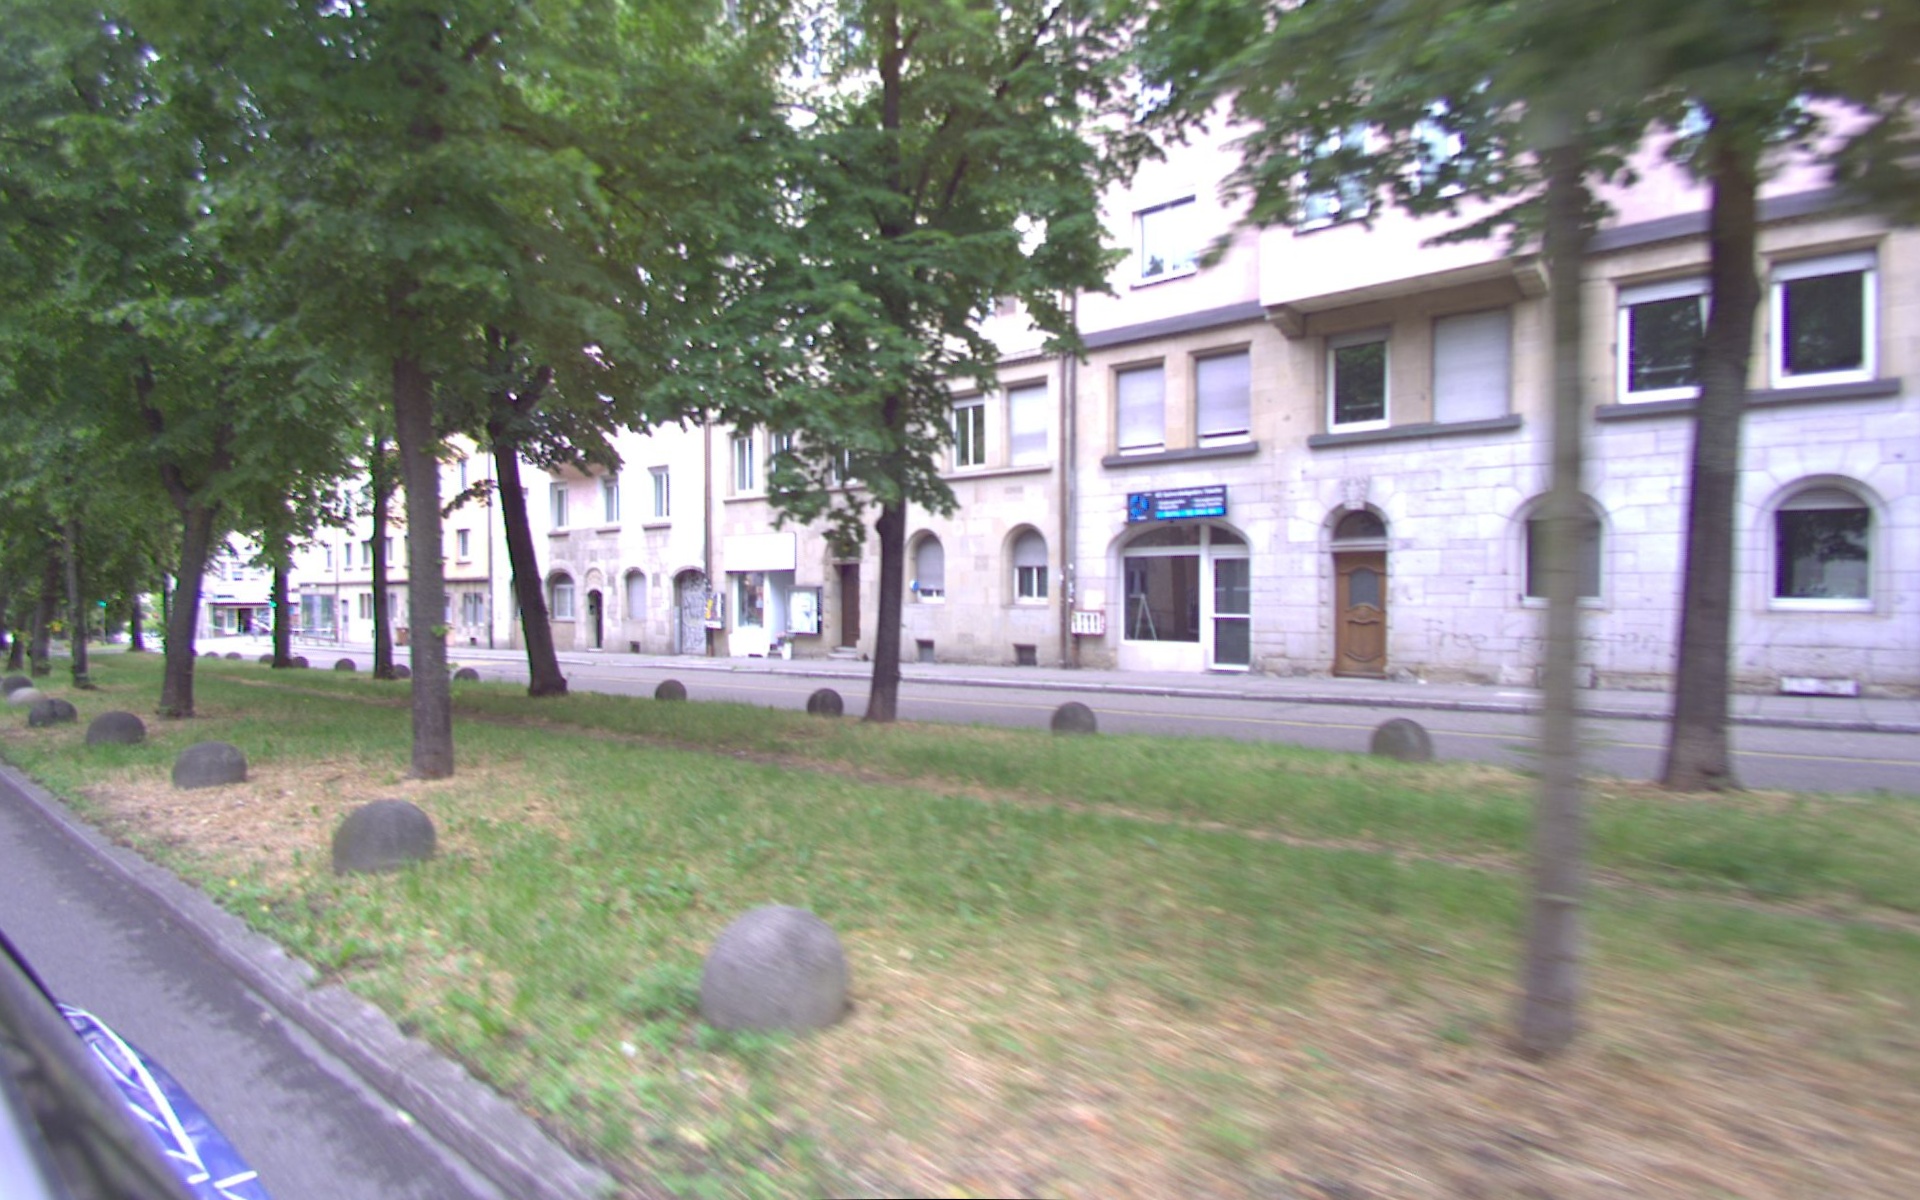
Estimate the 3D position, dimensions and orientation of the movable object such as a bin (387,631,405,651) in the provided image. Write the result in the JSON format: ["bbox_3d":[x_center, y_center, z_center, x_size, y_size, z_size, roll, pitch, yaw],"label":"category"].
[{"bbox_3d":[-27.001,1.944,48.452,0.779,0.934,0.506,-2,0,44],"label":"movable object such as a bin"}]

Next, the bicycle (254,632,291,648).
[{"bbox_3d":[-53.944,3.151,79.404,2.310,1.108,0.777,-2,0,-27],"label":"bicycle"}]
